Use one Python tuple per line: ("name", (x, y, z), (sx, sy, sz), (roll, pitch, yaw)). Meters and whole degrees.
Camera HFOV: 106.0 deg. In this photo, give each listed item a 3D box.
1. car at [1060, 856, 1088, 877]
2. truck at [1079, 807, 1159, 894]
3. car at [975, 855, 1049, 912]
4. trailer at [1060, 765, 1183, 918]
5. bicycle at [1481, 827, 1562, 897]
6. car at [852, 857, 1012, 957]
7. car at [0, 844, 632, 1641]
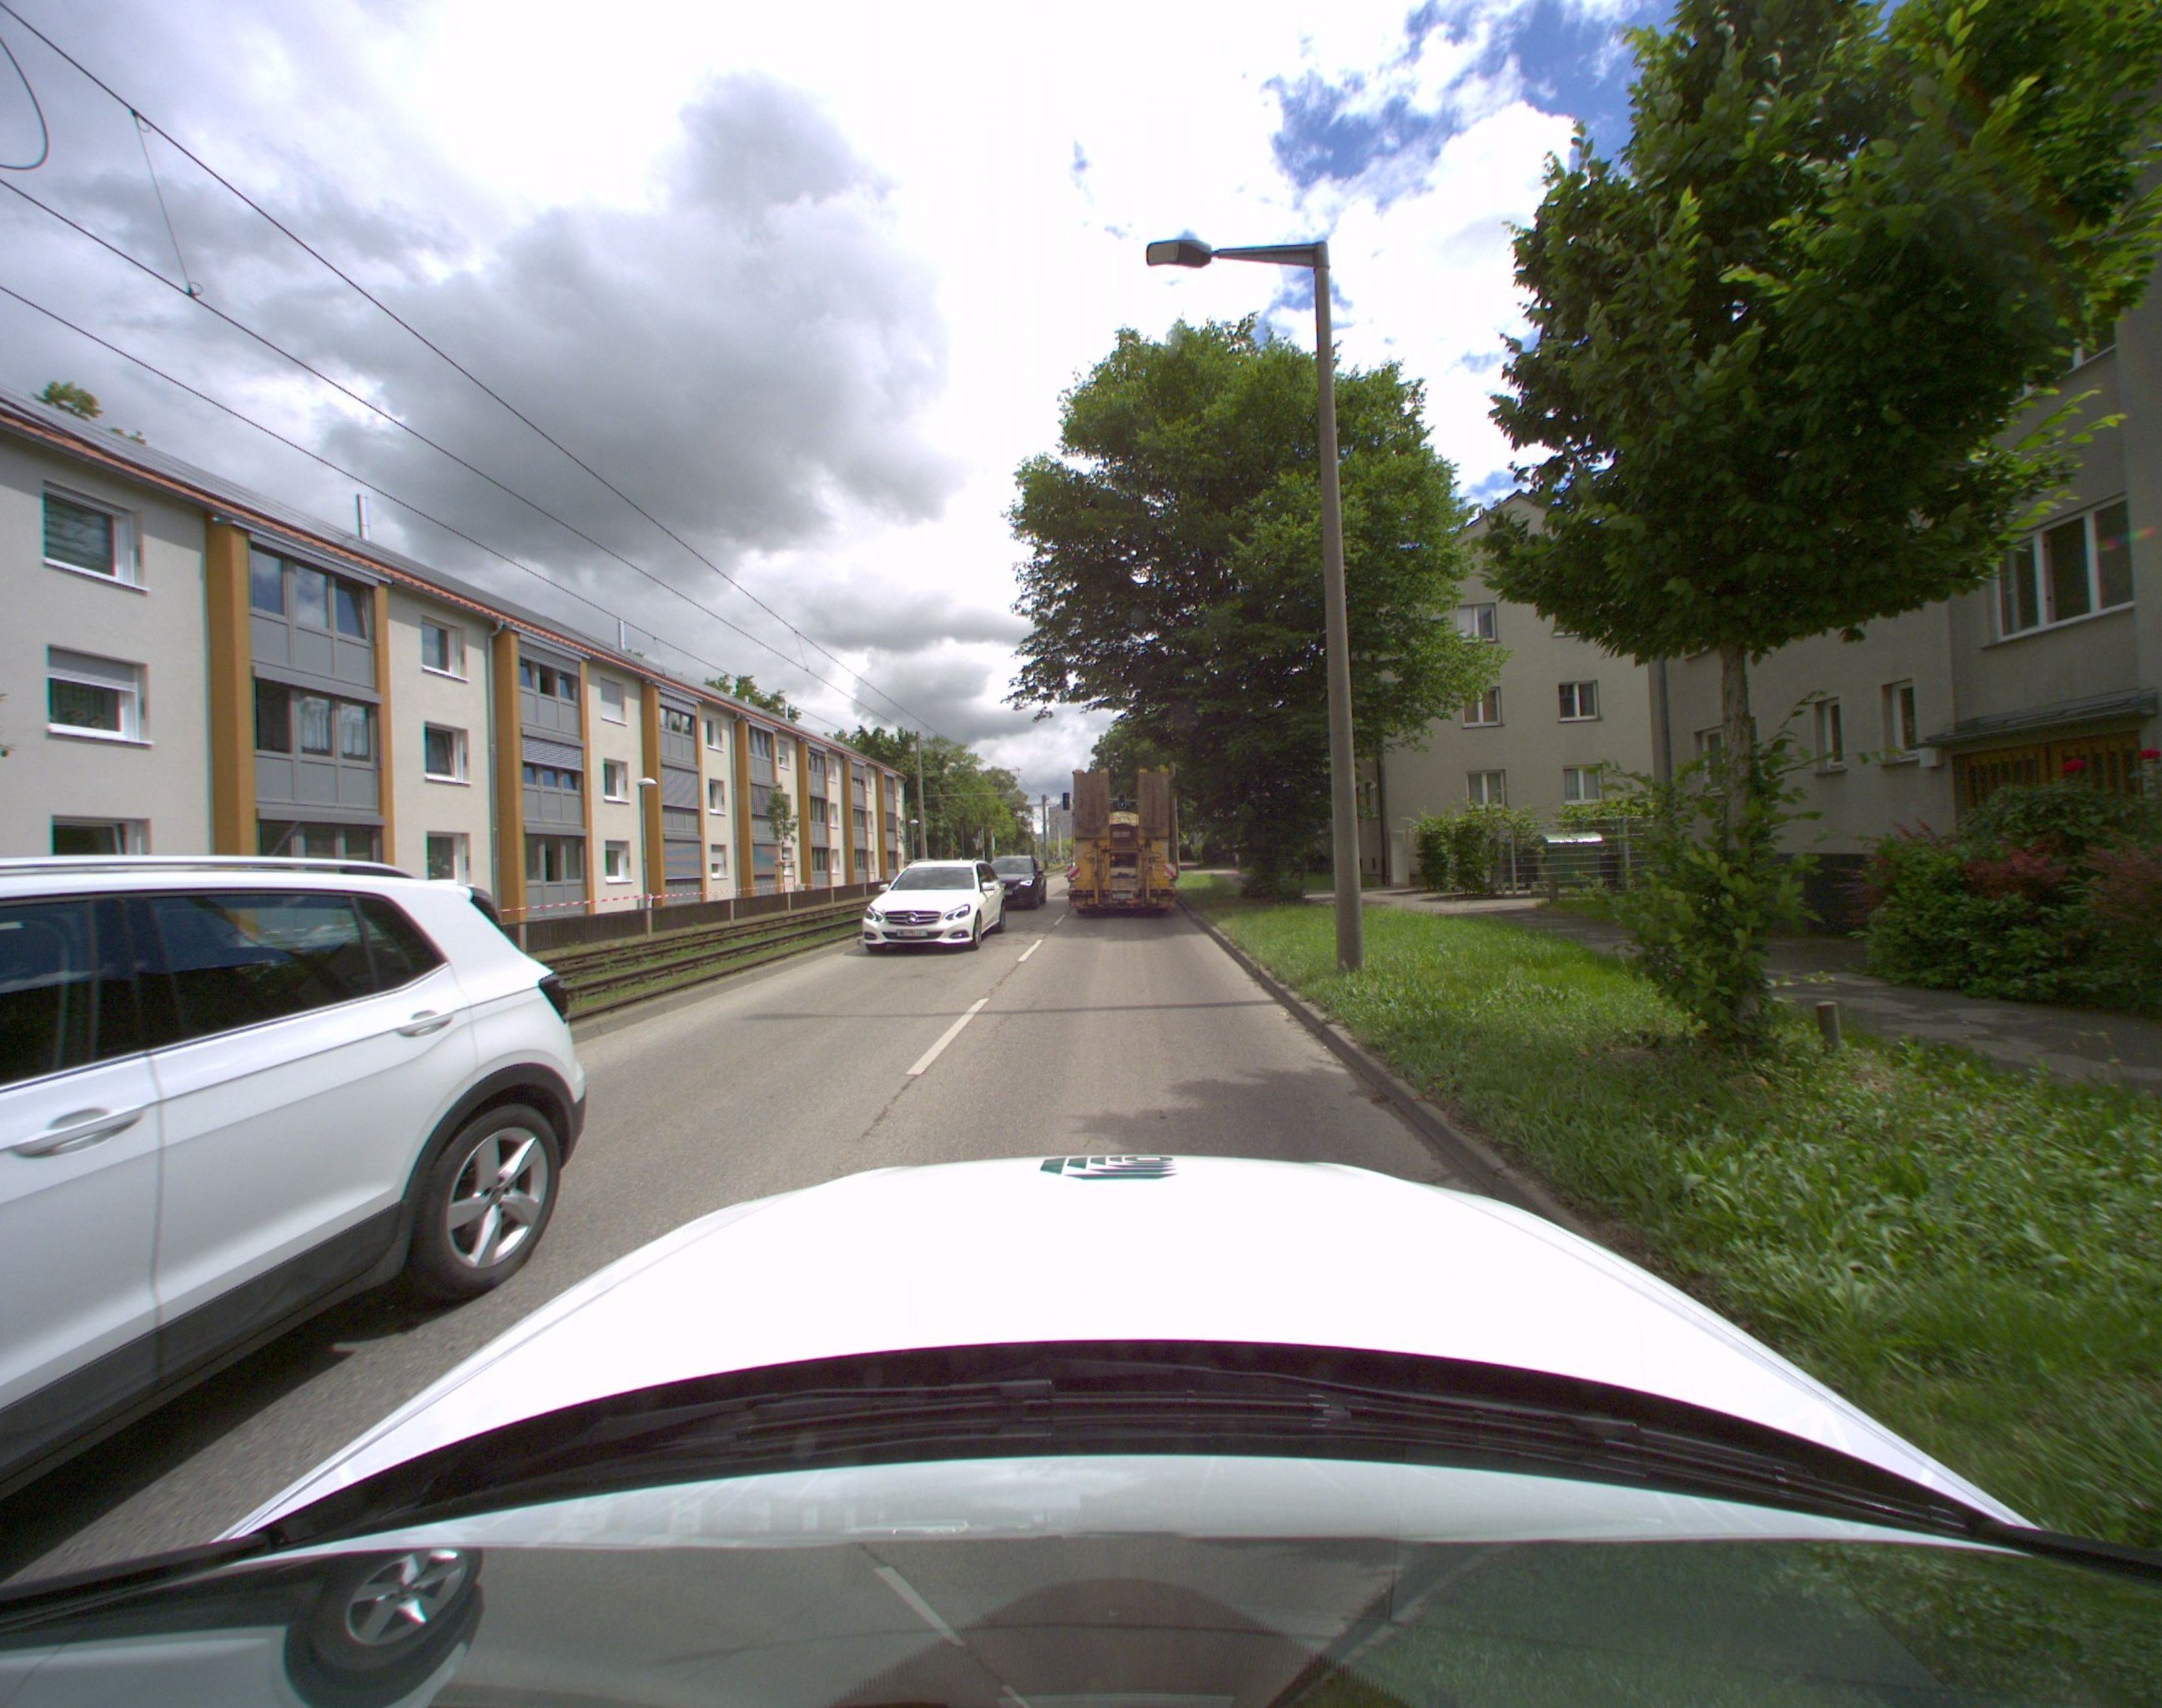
("car", (-0.496, 0.848, 58.477), (1.723, 1.417, 3.987), (-1, 0, 3))
("truck", (1.569, -0.145, 33.849), (2.905, 3.167, 7.685), (-1, 0, 3))
("car", (-1.971, 0.808, 24.221), (1.643, 1.520, 3.868), (-1, 0, 3))
("trailer", (1.148, -0.286, 24.506), (2.812, 3.524, 11.057), (-1, 0, 2))
("bicycle", (10.542, 0.180, 19.548), (1.341, 1.574, 1.073), (-3, 0, 5))
("car", (-2.498, 0.834, 14.826), (1.872, 1.481, 4.531), (-1, 0, 2))
("car", (-2.972, 0.777, 1.752), (1.711, 1.552, 3.919), (-1, 0, 2))
